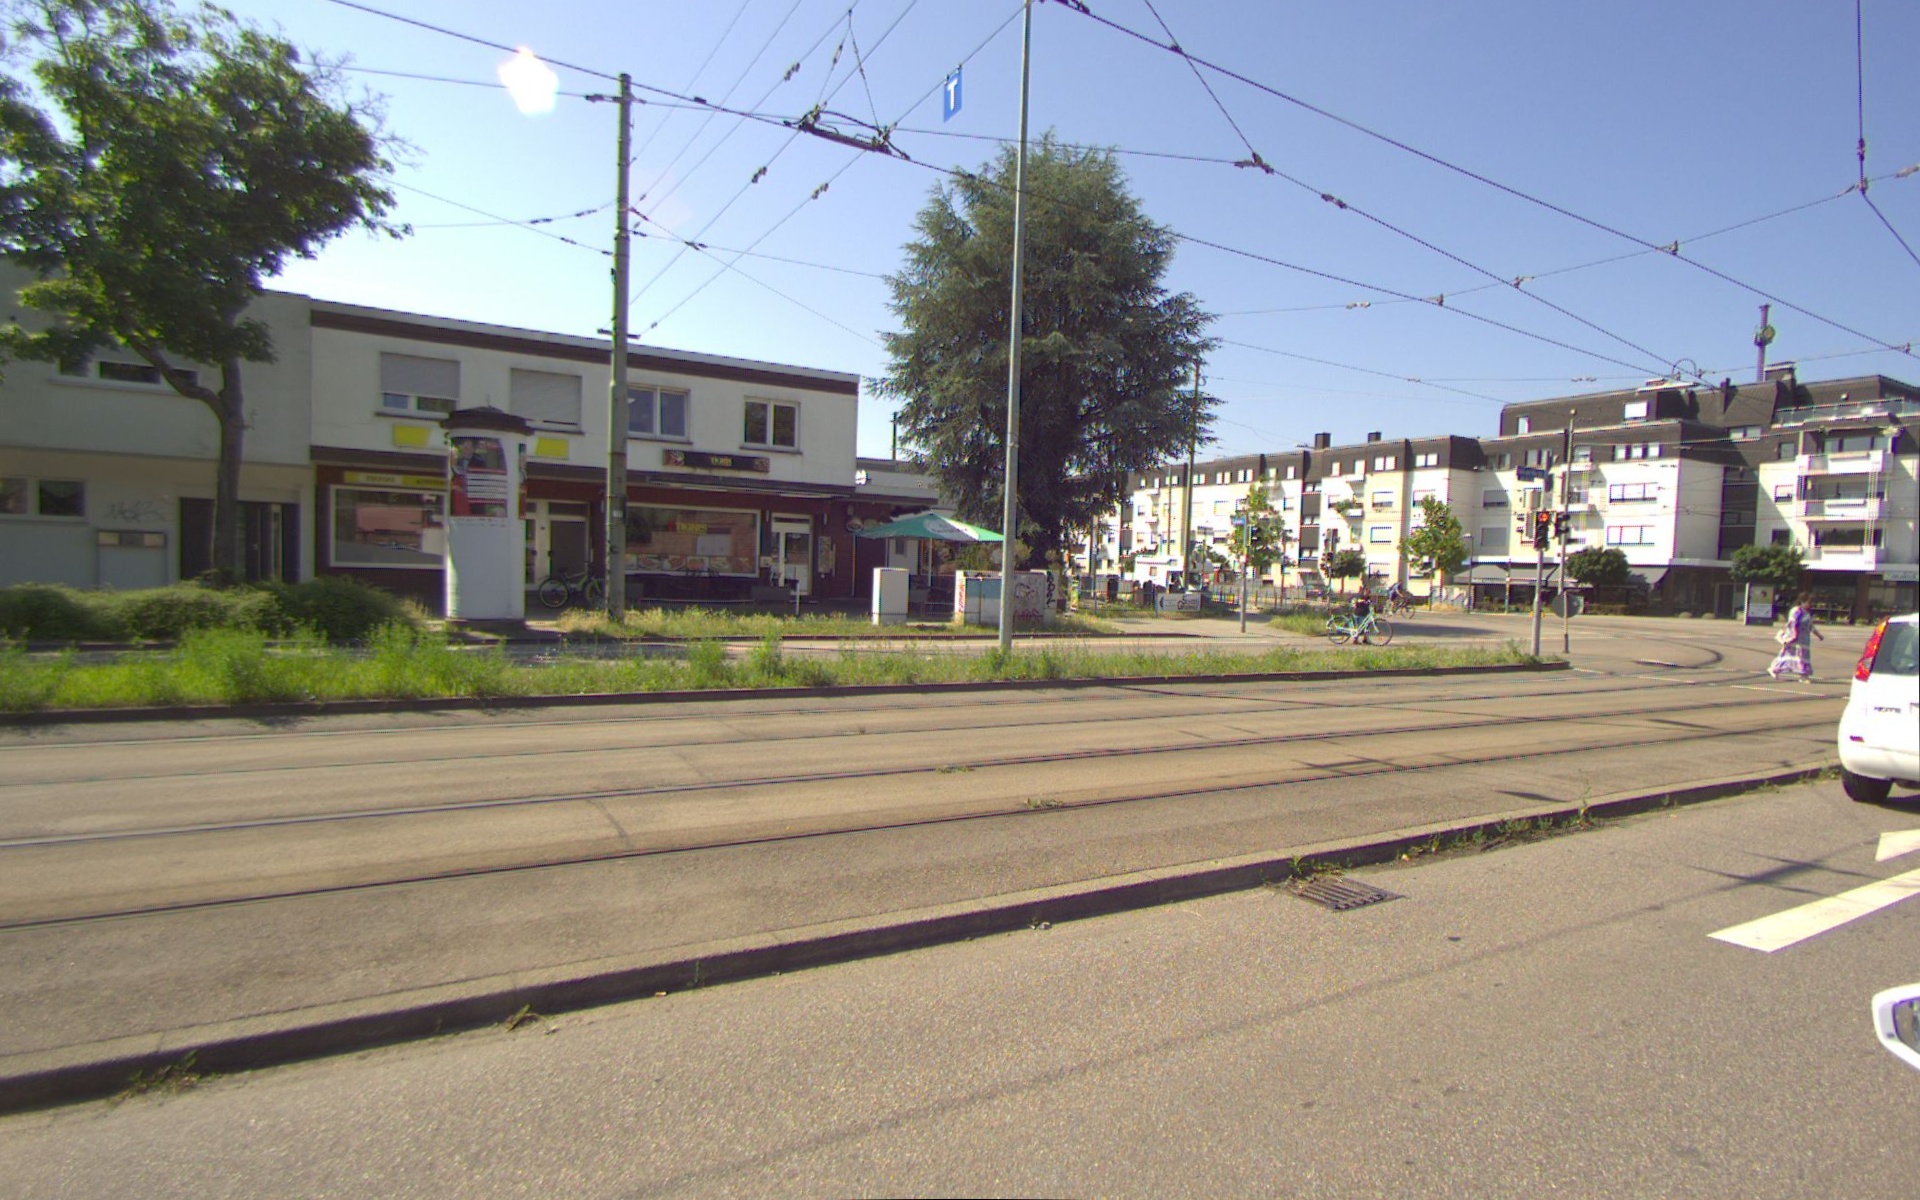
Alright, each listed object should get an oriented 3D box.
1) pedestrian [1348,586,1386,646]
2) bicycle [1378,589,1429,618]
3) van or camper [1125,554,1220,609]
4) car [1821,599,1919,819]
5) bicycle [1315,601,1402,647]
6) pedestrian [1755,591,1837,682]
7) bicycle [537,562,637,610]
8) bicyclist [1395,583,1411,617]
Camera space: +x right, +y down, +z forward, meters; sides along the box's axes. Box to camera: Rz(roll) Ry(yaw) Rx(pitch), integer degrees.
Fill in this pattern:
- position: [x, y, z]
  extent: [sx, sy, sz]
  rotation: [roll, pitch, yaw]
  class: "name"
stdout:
- position: [10.999, 0.431, 27.154]
  extent: [0.671, 1.592, 0.738]
  rotation: [1, 0, -44]
  class: "pedestrian"
- position: [21.475, 0.162, 48.671]
  extent: [2.210, 1.314, 0.559]
  rotation: [2, 0, 31]
  class: "bicycle"
- position: [12.906, -1.099, 61.400]
  extent: [2.545, 3.133, 5.656]
  rotation: [2, 0, -30]
  class: "van or camper"
- position: [8.711, 0.800, 8.042]
  extent: [3.759, 1.587, 1.634]
  rotation: [0, 1, -30]
  class: "car"
- position: [10.589, 0.629, 26.746]
  extent: [0.705, 1.105, 1.999]
  rotation: [0, 2, -44]
  class: "bicycle"
- position: [15.891, 0.686, 19.098]
  extent: [0.946, 1.673, 0.965]
  rotation: [2, 0, -34]
  class: "pedestrian"
- position: [-9.564, -0.346, 25.771]
  extent: [2.306, 1.167, 0.783]
  rotation: [1, 0, -30]
  class: "bicycle"
- position: [21.476, -0.011, 48.677]
  extent: [0.627, 1.634, 0.562]
  rotation: [2, 0, 30]
  class: "bicyclist"
